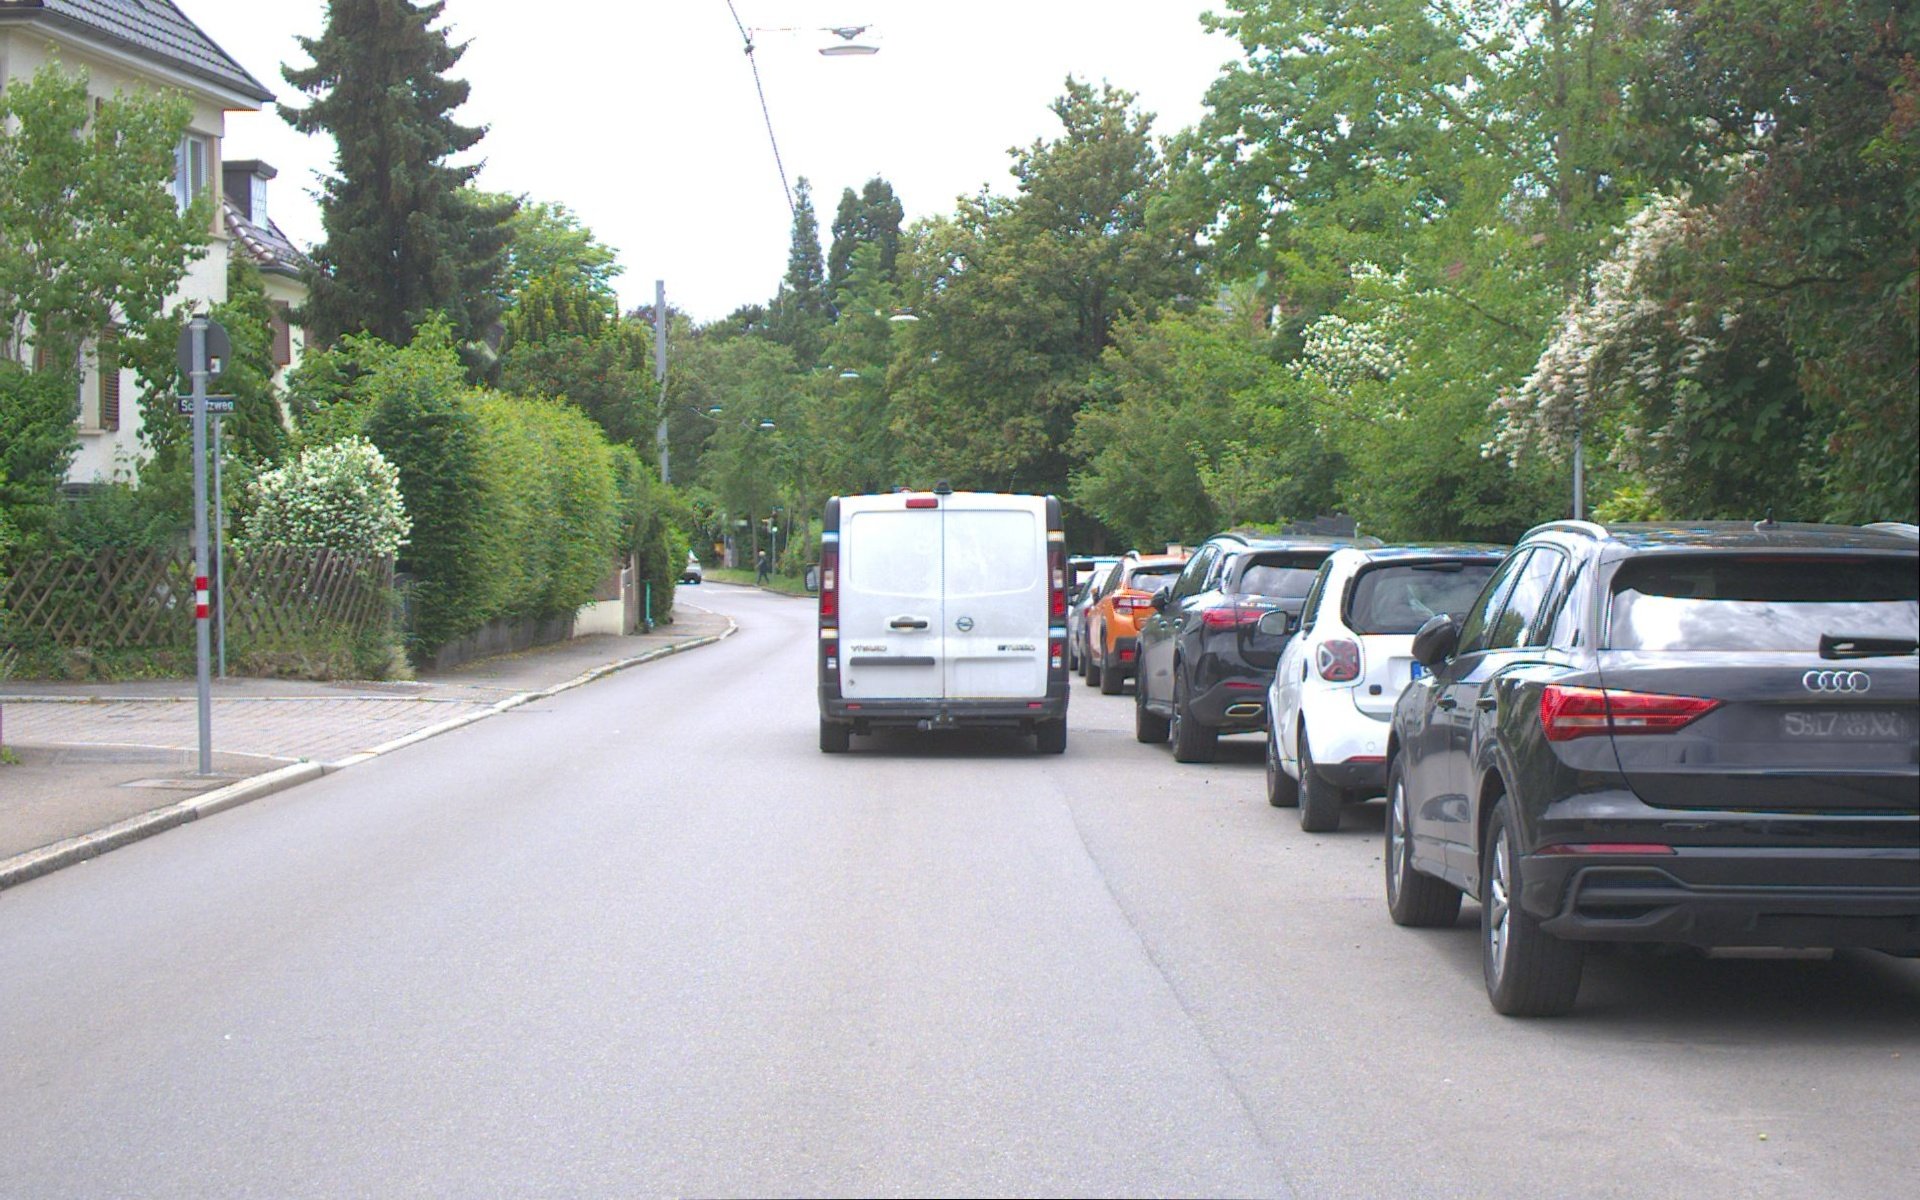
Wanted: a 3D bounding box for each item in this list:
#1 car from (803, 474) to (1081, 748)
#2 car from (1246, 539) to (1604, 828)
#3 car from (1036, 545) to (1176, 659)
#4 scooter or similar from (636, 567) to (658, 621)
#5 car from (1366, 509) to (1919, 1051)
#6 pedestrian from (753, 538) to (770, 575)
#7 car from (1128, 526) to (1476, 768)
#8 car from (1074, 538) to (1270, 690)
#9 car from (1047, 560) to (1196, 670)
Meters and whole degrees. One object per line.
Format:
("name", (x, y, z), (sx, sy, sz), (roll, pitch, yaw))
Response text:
("car", (-0.229, 0.030, 26.972), (1.929, 1.957, 4.402), (1, 1, -3))
("car", (2.547, 0.419, 19.398), (1.598, 1.505, 3.013), (0, 1, 0))
("car", (2.144, 0.013, 51.620), (1.829, 1.618, 4.492), (1, 0, -1))
("scooter or similar", (-6.796, -0.137, 74.710), (0.391, 1.167, 1.270), (0, 0, -2))
("car", (2.557, 0.501, 12.147), (1.801, 1.586, 4.141), (0, 1, 1))
("pedestrian", (-8.721, -1.905, 151.158), (0.697, 1.610, 0.715), (0, 3, -7))
("car", (2.473, 0.307, 25.940), (1.950, 1.621, 4.377), (1, 0, -3))
("car", (2.385, 0.136, 39.687), (1.850, 1.621, 4.170), (1, 0, -2))
("car", (2.103, 0.179, 45.812), (1.716, 1.377, 4.236), (1, 0, -1))
